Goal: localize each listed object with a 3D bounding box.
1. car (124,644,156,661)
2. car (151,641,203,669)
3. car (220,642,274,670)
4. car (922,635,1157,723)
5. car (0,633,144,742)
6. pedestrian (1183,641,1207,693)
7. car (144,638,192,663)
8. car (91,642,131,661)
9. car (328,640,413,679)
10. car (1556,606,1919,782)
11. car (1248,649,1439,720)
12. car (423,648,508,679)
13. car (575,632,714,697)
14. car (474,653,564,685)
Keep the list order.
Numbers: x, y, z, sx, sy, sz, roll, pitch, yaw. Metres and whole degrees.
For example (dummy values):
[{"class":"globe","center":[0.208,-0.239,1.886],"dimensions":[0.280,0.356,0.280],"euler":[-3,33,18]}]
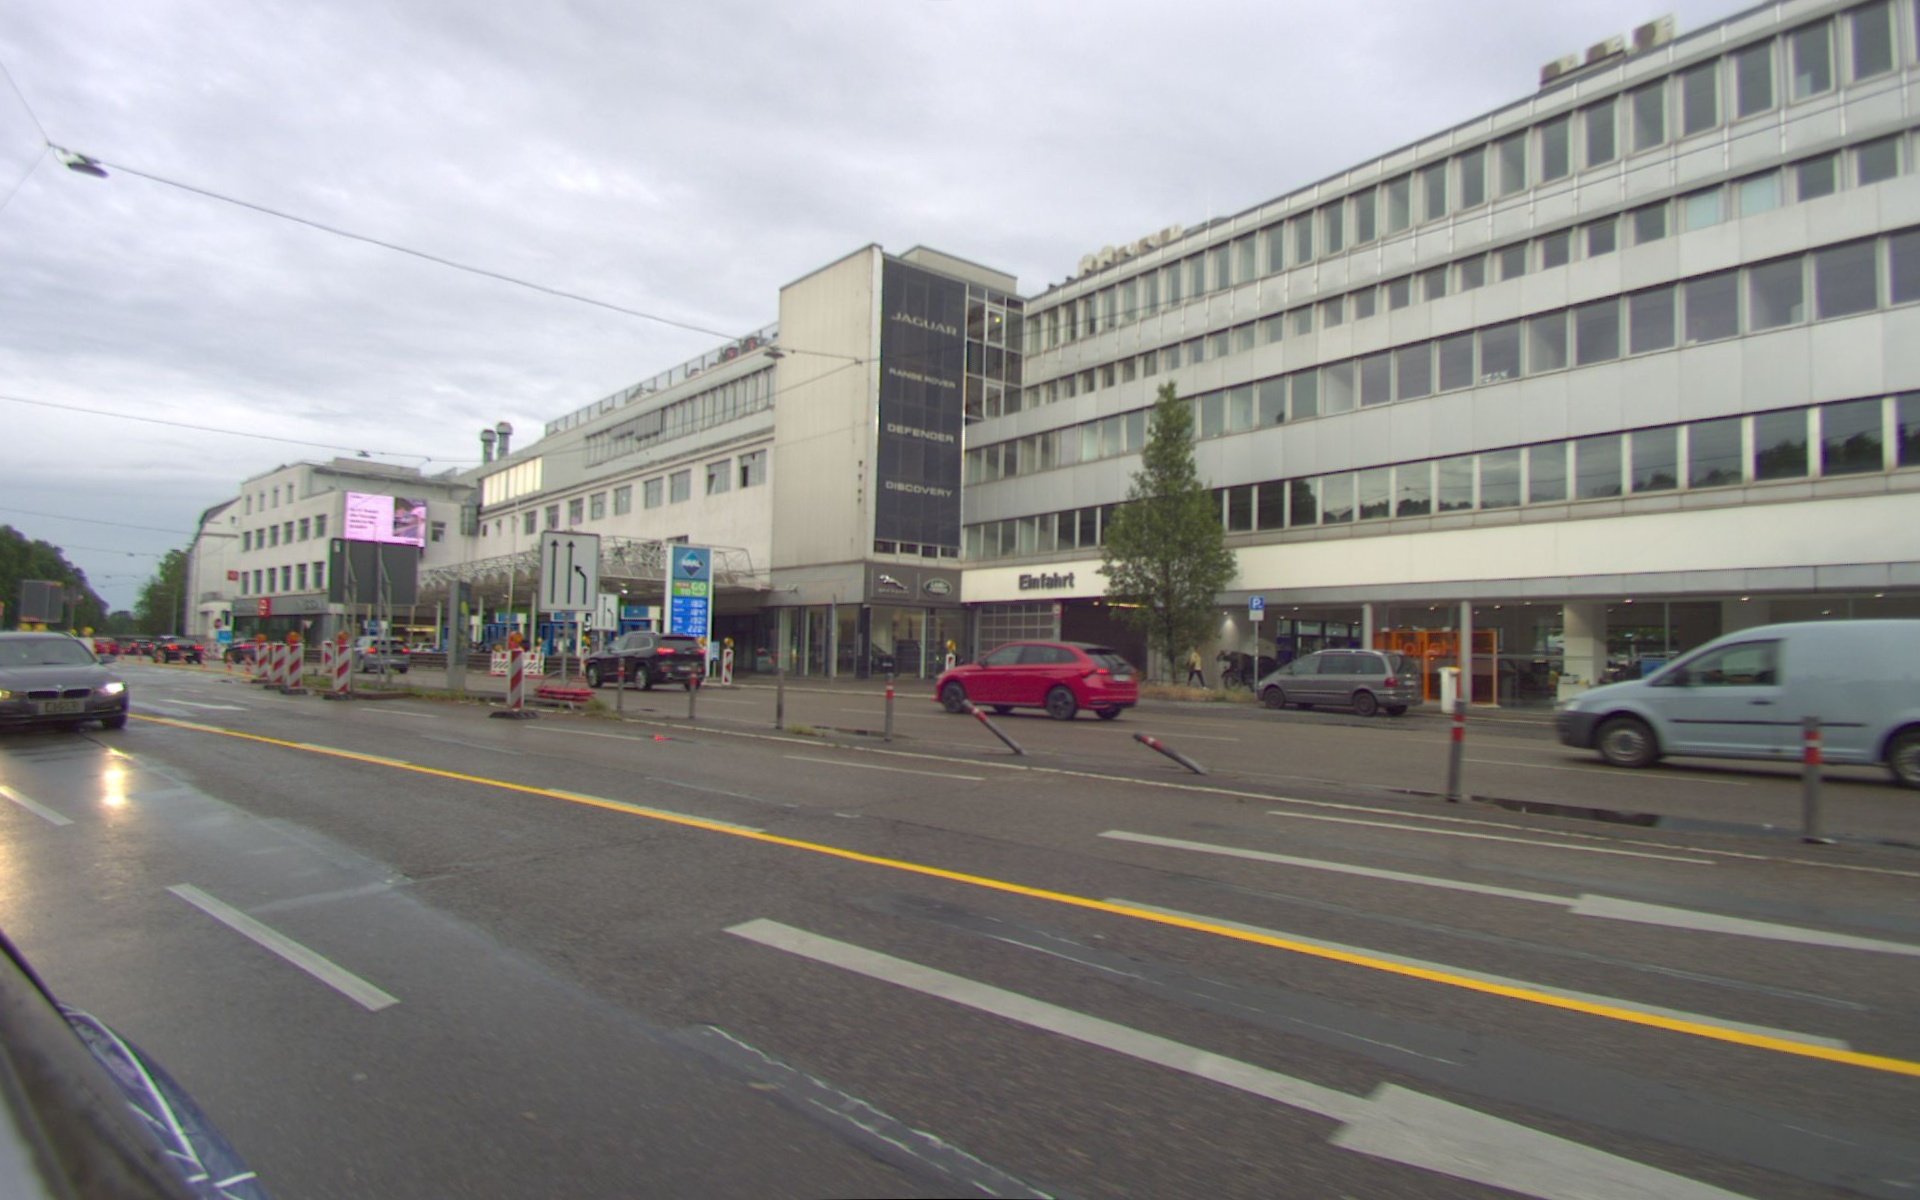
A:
[{"class":"car","center":[-79.984,5.083,98.748],"dimensions":[4.076,1.548,1.692],"euler":[-2,-6,42]},{"class":"car","center":[-42.731,2.990,55.229],"dimensions":[1.669,1.365,4.117],"euler":[6,-6,-44]},{"class":"car","center":[-41.367,3.235,58.671],"dimensions":[4.000,1.525,1.732],"euler":[-1,-5,43]},{"class":"car","center":[1.467,1.491,19.716],"dimensions":[4.372,1.514,1.810],"euler":[-2,-5,43]},{"class":"car","center":[-14.154,1.241,15.308],"dimensions":[4.169,1.461,1.743],"euler":[-1,-4,36]},{"class":"pedestrian","center":[8.009,2.277,34.535],"dimensions":[0.699,1.734,0.667],"euler":[1,-4,8]},{"class":"car","center":[-59.990,3.809,76.637],"dimensions":[4.829,1.720,1.959],"euler":[-2,-4,41]},{"class":"car","center":[-65.606,3.988,78.167],"dimensions":[4.287,1.415,1.717],"euler":[-2,-4,41]},{"class":"car","center":[-25.016,2.504,42.900],"dimensions":[4.299,1.570,1.789],"euler":[-2,-4,42]},{"class":"car","center":[9.620,1.054,11.846],"dimensions":[4.301,1.799,1.715],"euler":[-2,-5,43]},{"class":"car","center":[10.553,2.299,28.179],"dimensions":[1.824,1.792,4.740],"euler":[5,-5,-37]},{"class":"car","center":[-31.417,4.065,64.388],"dimensions":[4.376,1.784,1.970],"euler":[3,-4,-7]},{"class":"car","center":[-9.234,1.832,29.441],"dimensions":[4.605,1.751,1.825],"euler":[-2,-5,44]},{"class":"car","center":[-25.981,4.073,59.728],"dimensions":[4.409,1.692,2.017],"euler":[3,-4,-7]}]
